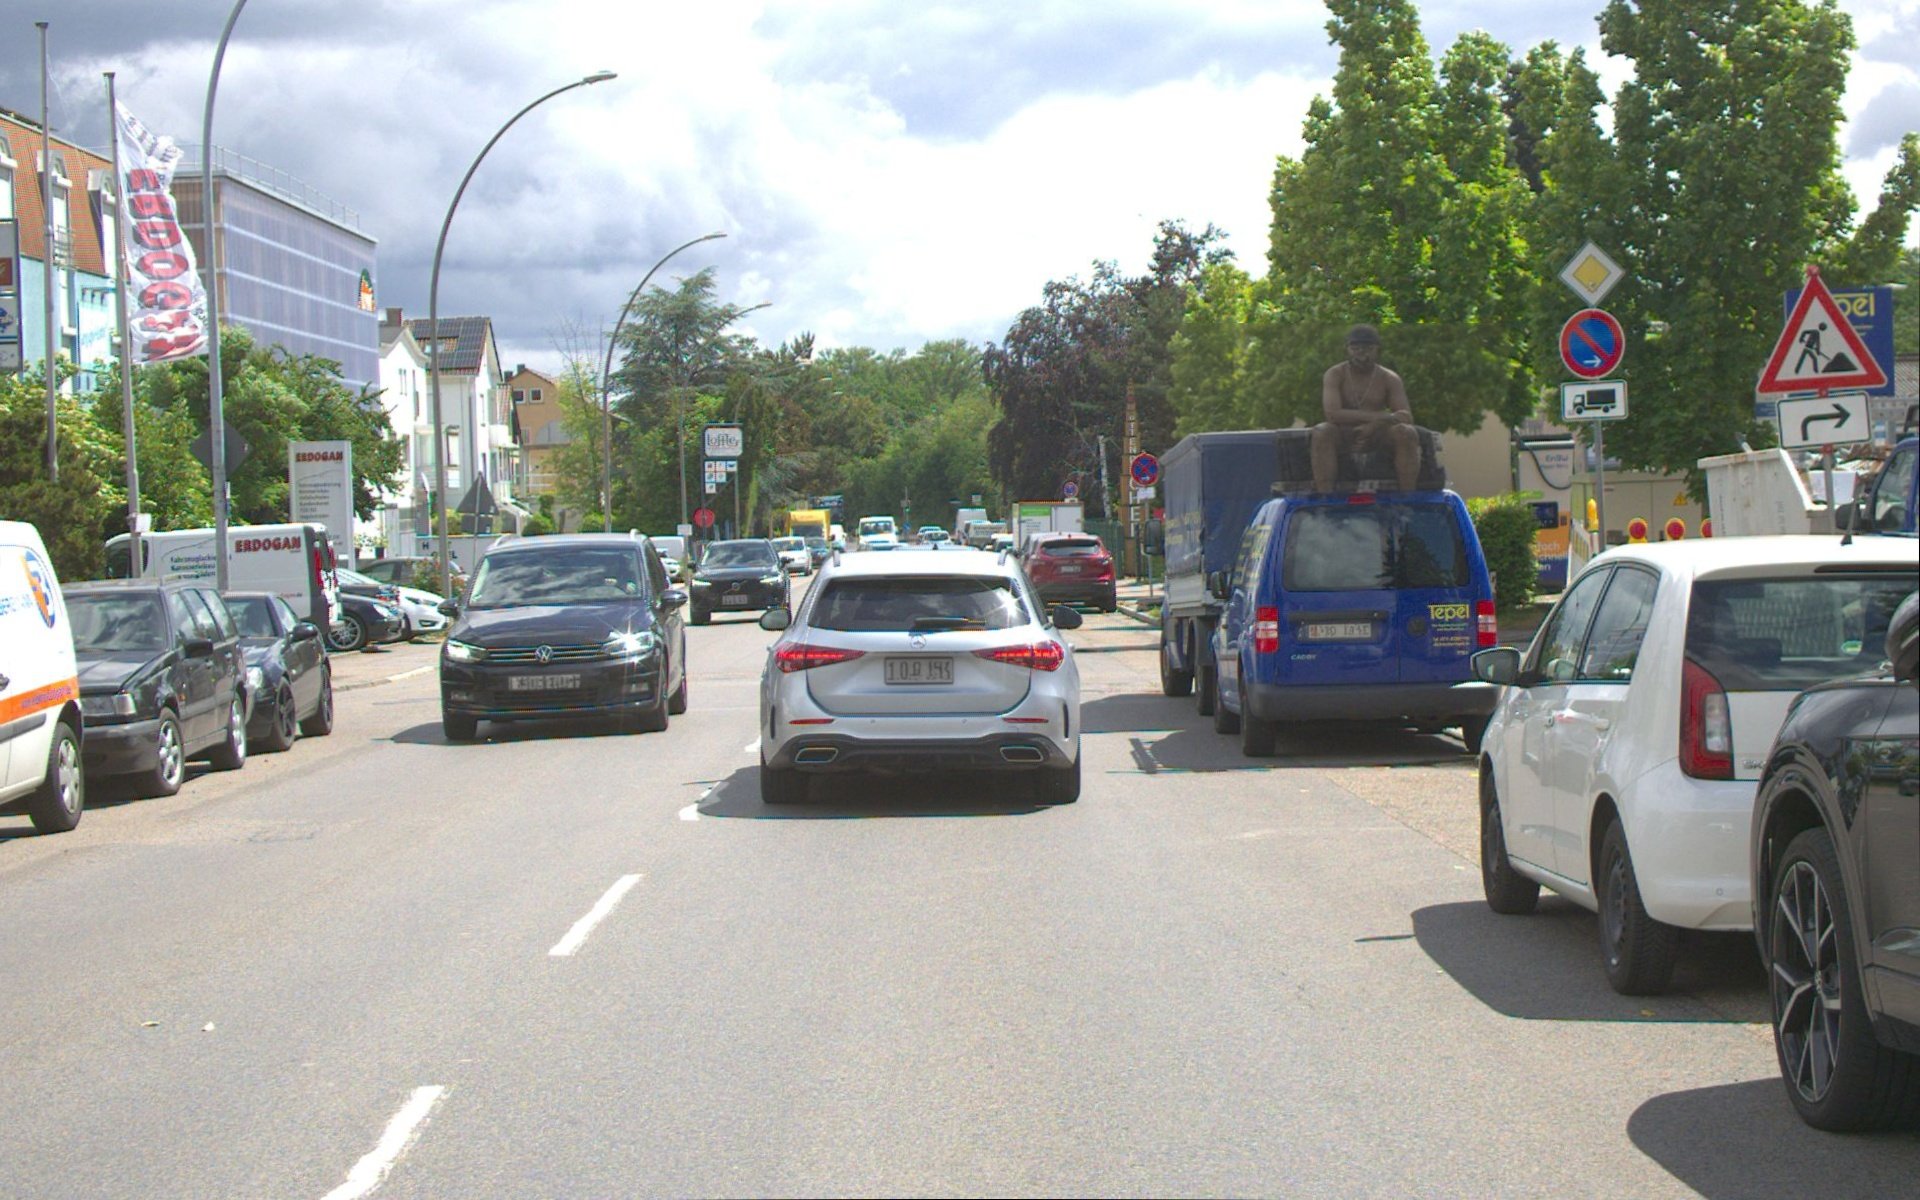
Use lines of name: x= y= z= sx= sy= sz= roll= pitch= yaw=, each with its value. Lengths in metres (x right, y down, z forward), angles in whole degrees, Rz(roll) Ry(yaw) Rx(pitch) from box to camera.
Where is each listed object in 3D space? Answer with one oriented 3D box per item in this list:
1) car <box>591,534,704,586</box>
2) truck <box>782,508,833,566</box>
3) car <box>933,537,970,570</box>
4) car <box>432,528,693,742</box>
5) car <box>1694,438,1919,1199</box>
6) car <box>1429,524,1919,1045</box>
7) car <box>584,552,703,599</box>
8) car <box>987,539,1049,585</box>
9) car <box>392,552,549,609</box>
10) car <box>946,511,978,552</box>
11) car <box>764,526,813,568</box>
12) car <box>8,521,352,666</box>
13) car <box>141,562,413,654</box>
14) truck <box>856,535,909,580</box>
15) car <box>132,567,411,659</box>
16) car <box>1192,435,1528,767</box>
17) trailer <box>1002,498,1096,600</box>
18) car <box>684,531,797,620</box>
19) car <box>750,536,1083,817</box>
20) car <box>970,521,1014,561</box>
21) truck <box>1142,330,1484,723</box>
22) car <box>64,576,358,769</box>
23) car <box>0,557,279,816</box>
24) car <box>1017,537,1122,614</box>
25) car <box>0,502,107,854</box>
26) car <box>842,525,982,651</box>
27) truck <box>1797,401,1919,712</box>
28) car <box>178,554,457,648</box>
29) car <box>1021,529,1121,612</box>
car: x=-12.322 y=-1.572 z=135.841 sx=4.279 sy=1.830 sz=1.991 roll=-2 pitch=-2 yaw=-1
truck: x=-7.757 y=-3.230 z=174.929 sx=2.075 sy=2.804 sz=7.078 roll=-2 pitch=1 yaw=1
car: x=-0.431 y=-2.302 z=169.232 sx=1.755 sy=1.553 sz=4.000 roll=-1 pitch=1 yaw=-1
car: x=-3.271 y=0.228 z=29.005 sx=1.743 sy=1.622 sz=4.356 roll=-1 pitch=2 yaw=-1
car: x=3.022 y=0.494 z=6.893 sx=1.873 sy=1.721 sz=4.714 roll=-2 pitch=1 yaw=-2
car: x=2.900 y=0.514 z=12.395 sx=1.773 sy=1.503 sz=4.000 roll=-2 pitch=1 yaw=-1
car: x=-12.013 y=-0.929 z=130.658 sx=4.279 sy=1.561 sz=1.991 roll=-2 pitch=-2 yaw=0
car: x=1.955 y=-1.317 z=117.746 sx=1.791 sy=1.445 sz=4.364 roll=-2 pitch=1 yaw=-3
car: x=-13.506 y=-0.544 z=94.951 sx=4.149 sy=1.486 sz=1.826 roll=1 pitch=1 yaw=-4
car: x=0.129 y=-4.279 z=214.126 sx=1.784 sy=2.510 sz=4.317 roll=0 pitch=1 yaw=-2
car: x=-7.028 y=-2.181 z=141.110 sx=1.792 sy=1.598 sz=4.364 roll=-2 pitch=1 yaw=0
car: x=-11.505 y=-0.121 z=50.982 sx=4.650 sy=1.965 sz=2.116 roll=-2 pitch=1 yaw=-4
car: x=-11.093 y=0.120 z=55.996 sx=3.987 sy=1.350 sz=1.871 roll=-1 pitch=1 yaw=2
truck: x=-3.989 y=-2.233 z=177.775 sx=2.319 sy=2.171 sz=6.449 roll=-2 pitch=1 yaw=2
car: x=-10.727 y=0.187 z=53.792 sx=3.986 sy=1.310 sz=1.872 roll=-2 pitch=0 yaw=-2
car: x=2.768 y=-0.044 z=24.743 sx=1.873 sy=2.161 sz=4.464 roll=0 pitch=1 yaw=0
trailer: x=2.088 y=-1.224 z=81.835 sx=1.941 sy=2.286 sz=4.446 roll=-2 pitch=1 yaw=-2
car: x=-4.359 y=-0.509 z=68.744 sx=1.993 sy=1.610 sz=4.411 roll=-3 pitch=1 yaw=-1
car: x=-0.316 y=0.371 z=20.654 sx=1.784 sy=1.479 sz=4.317 roll=0 pitch=1 yaw=-2
car: x=1.605 y=-3.030 z=176.493 sx=2.144 sy=1.977 sz=5.261 roll=-2 pitch=1 yaw=0
truck: x=2.951 y=-0.651 z=30.198 sx=2.320 sy=3.086 sz=6.043 roll=0 pitch=1 yaw=0
car: x=-6.151 y=0.547 z=28.631 sx=1.630 sy=1.299 sz=4.117 roll=-5 pitch=2 yaw=-3
car: x=-5.974 y=0.532 z=23.481 sx=1.743 sy=1.467 sz=4.645 roll=-5 pitch=2 yaw=-2
car: x=2.383 y=-0.562 z=75.829 sx=1.941 sy=1.566 sz=4.446 roll=-2 pitch=1 yaw=-2
car: x=-5.925 y=0.462 z=18.142 sx=1.743 sy=1.832 sz=4.356 roll=-5 pitch=2 yaw=-2
car: x=-0.650 y=-0.194 z=45.810 sx=1.755 sy=1.553 sz=4.000 roll=-1 pitch=1 yaw=-1
truck: x=7.349 y=-0.339 z=23.218 sx=1.829 sy=2.074 sz=5.386 roll=-4 pitch=3 yaw=-1
car: x=-10.915 y=0.019 z=58.639 sx=4.374 sy=1.473 sz=1.871 roll=-2 pitch=0 yaw=0
car: x=2.270 y=-0.638 z=70.502 sx=1.941 sy=1.566 sz=4.446 roll=-2 pitch=1 yaw=2
